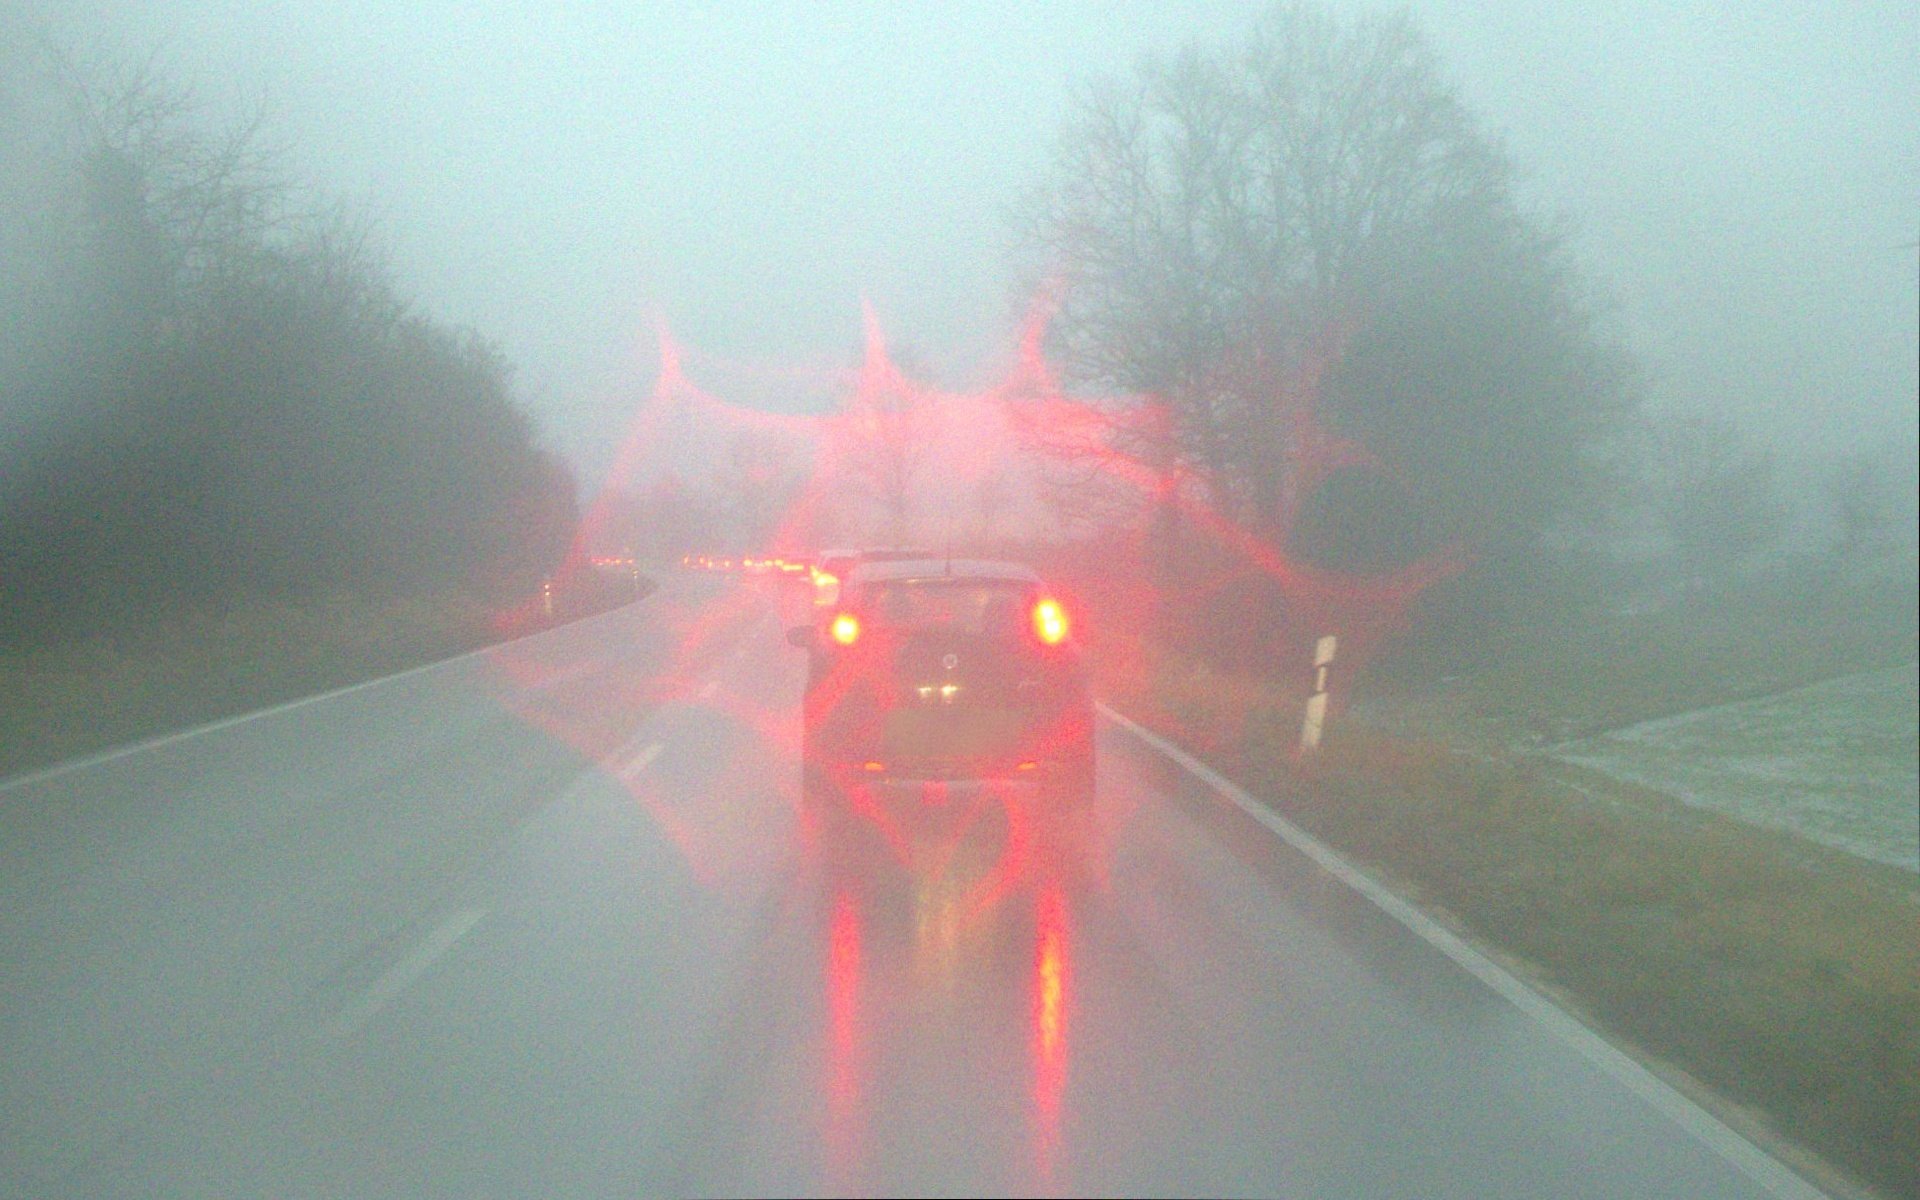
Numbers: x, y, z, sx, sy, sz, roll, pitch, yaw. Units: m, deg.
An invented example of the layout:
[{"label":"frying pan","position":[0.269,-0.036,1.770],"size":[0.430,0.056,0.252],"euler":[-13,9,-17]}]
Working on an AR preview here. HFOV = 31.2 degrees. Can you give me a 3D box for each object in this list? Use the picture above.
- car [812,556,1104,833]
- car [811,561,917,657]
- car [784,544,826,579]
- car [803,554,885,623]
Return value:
[{"label":"car","position":[0.037,0.498,20.964],"size":[1.602,1.517,3.869],"euler":[1,1,1]},{"label":"car","position":[-1.462,0.115,52.750],"size":[1.547,1.392,3.870],"euler":[1,1,-1]},{"label":"car","position":[-6.349,-1.583,141.186],"size":[1.547,1.392,3.869],"euler":[1,1,0]},{"label":"car","position":[-2.410,-0.260,72.016],"size":[1.547,1.392,3.869],"euler":[1,1,1]}]
